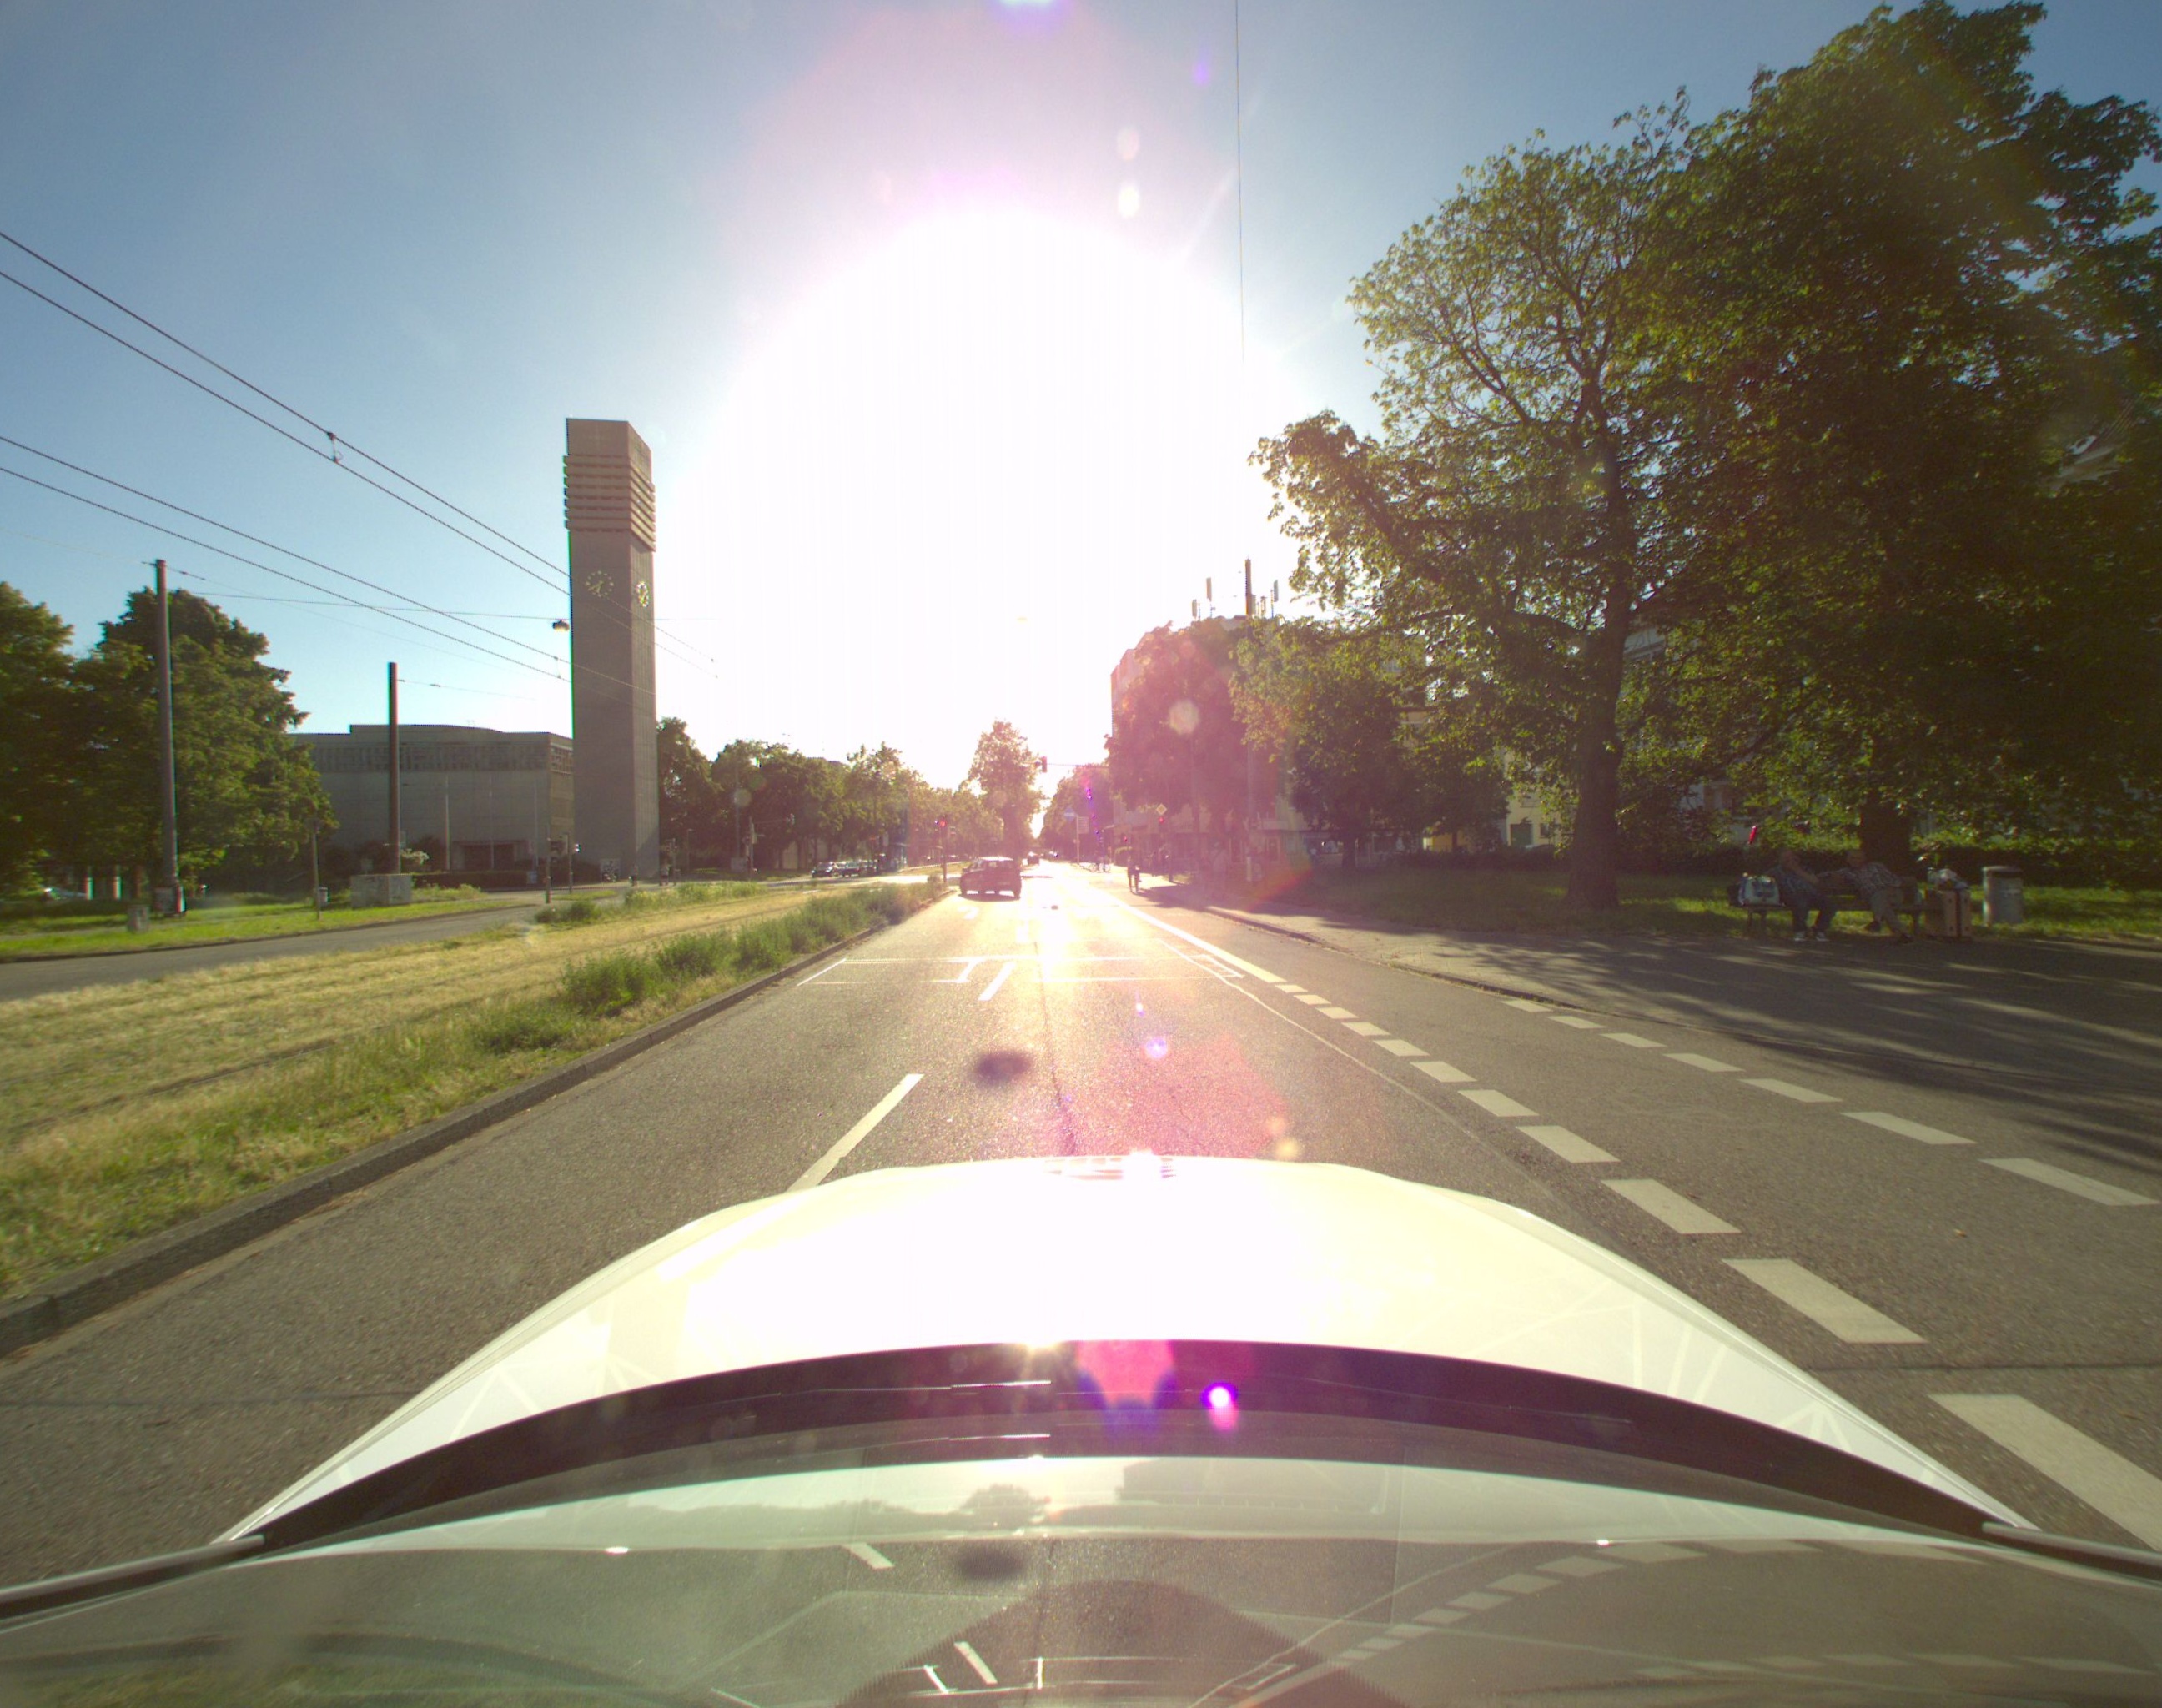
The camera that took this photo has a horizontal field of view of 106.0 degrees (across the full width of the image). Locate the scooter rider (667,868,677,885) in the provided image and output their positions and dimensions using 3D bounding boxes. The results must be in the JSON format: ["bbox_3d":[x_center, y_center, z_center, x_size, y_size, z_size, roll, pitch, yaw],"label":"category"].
[{"bbox_3d":[-30.619,1.690,60.948,0.527,1.218,0.583,1,-1,-20],"label":"scooter rider"}]

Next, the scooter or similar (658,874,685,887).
[{"bbox_3d":[-30.649,1.999,60.950,1.740,0.899,0.560,-1,-1,-20],"label":"scooter or similar"}]

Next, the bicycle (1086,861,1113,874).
[{"bbox_3d":[1.583,1.171,70.512,2.237,0.987,0.791,-1,4,11],"label":"bicycle"}]

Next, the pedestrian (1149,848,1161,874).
[{"bbox_3d":[4.292,0.403,47.297,0.643,1.522,0.497,1,-1,8],"label":"pedestrian"}]

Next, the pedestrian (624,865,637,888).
[{"bbox_3d":[-33.069,1.654,59.748,0.440,1.666,0.747,1,-1,6],"label":"pedestrian"}]

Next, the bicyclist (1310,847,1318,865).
[{"bbox_3d":[20.346,0.158,71.017,0.526,1.567,0.463,1,-1,-6],"label":"bicyclist"}]

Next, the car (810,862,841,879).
[{"bbox_3d":[-24.525,1.525,78.180,1.803,1.533,4.355,-2,-1,-4],"label":"car"}]

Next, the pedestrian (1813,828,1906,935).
[{"bbox_3d":[10.449,0.354,10.960,0.679,1.373,0.759,1,-1,23],"label":"pedestrian"}]

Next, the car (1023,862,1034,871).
[{"bbox_3d":[-9.683,2.267,148.996,1.891,1.611,4.492,1,-1,-5],"label":"car"}]

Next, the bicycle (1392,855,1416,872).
[{"bbox_3d":[20.211,0.569,51.033,0.596,1.034,1.987,1,-1,-4],"label":"bicycle"}]

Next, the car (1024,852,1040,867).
[{"bbox_3d":[-6.636,0.738,109.773,1.965,1.860,3.992,1,-1,-5],"label":"car"}]

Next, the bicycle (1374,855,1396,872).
[{"bbox_3d":[18.931,0.591,50.685,0.596,1.034,1.793,1,-1,-4],"label":"bicycle"}]

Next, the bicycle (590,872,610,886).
[{"bbox_3d":[-37.372,1.912,63.281,0.489,1.046,1.685,1,-1,4],"label":"bicycle"}]

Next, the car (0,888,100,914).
[{"bbox_3d":[-62.735,2.810,48.891,4.703,1.401,1.993,1,-1,-10],"label":"car"}]

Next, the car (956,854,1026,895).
[{"bbox_3d":[-3.598,0.774,32.037,1.702,1.508,3.670,1,-1,-24],"label":"car"}]

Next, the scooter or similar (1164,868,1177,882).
[{"bbox_3d":[5.133,1.206,46.628,0.596,0.737,0.680,1,-1,-4],"label":"scooter or similar"}]

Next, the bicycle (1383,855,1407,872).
[{"bbox_3d":[19.567,0.585,50.777,0.596,1.034,2.004,1,-1,-4],"label":"bicycle"}]

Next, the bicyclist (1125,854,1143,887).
[{"bbox_3d":[2.186,0.683,33.587,0.636,1.323,0.802,1,-1,-2],"label":"bicyclist"}]

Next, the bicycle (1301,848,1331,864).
[{"bbox_3d":[20.644,0.201,71.589,2.466,1.399,0.607,1,-1,-5],"label":"bicycle"}]

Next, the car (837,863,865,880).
[{"bbox_3d":[-22.123,1.654,78.415,1.684,1.533,4.355,-1,-1,-4],"label":"car"}]

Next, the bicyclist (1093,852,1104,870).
[{"bbox_3d":[1.533,0.603,70.519,0.763,1.471,0.901,-2,0,13],"label":"bicyclist"}]

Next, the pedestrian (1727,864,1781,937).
[{"bbox_3d":[9.203,0.621,11.155,0.399,0.934,0.626,1,1,23],"label":"pedestrian"}]

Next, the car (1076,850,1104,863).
[{"bbox_3d":[1.354,0.404,122.564,3.965,1.860,2.016,1,-1,7],"label":"car"}]

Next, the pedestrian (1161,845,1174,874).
[{"bbox_3d":[5.026,0.335,47.244,0.725,1.682,0.534,1,-1,8],"label":"pedestrian"}]

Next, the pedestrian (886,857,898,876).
[{"bbox_3d":[-16.624,1.080,71.618,0.889,1.606,0.612,1,-1,-4],"label":"pedestrian"}]

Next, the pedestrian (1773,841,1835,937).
[{"bbox_3d":[9.620,0.456,10.852,0.399,1.226,0.765,1,-1,23],"label":"pedestrian"}]

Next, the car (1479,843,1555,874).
[{"bbox_3d":[23.335,0.255,43.609,3.244,1.529,1.572,-1,-1,-6],"label":"car"}]

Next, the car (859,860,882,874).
[{"bbox_3d":[-22.173,1.353,85.831,1.563,1.402,3.909,1,-1,-4],"label":"car"}]

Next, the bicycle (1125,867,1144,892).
[{"bbox_3d":[2.177,1.040,33.478,0.646,0.973,1.803,1,-1,-1],"label":"bicycle"}]

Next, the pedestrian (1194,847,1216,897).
[{"bbox_3d":[3.936,0.569,25.916,0.527,1.529,0.628,-3,-1,2],"label":"pedestrian"}]

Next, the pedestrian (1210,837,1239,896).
[{"bbox_3d":[4.548,0.392,25.788,0.700,1.789,0.694,-4,0,1],"label":"pedestrian"}]
